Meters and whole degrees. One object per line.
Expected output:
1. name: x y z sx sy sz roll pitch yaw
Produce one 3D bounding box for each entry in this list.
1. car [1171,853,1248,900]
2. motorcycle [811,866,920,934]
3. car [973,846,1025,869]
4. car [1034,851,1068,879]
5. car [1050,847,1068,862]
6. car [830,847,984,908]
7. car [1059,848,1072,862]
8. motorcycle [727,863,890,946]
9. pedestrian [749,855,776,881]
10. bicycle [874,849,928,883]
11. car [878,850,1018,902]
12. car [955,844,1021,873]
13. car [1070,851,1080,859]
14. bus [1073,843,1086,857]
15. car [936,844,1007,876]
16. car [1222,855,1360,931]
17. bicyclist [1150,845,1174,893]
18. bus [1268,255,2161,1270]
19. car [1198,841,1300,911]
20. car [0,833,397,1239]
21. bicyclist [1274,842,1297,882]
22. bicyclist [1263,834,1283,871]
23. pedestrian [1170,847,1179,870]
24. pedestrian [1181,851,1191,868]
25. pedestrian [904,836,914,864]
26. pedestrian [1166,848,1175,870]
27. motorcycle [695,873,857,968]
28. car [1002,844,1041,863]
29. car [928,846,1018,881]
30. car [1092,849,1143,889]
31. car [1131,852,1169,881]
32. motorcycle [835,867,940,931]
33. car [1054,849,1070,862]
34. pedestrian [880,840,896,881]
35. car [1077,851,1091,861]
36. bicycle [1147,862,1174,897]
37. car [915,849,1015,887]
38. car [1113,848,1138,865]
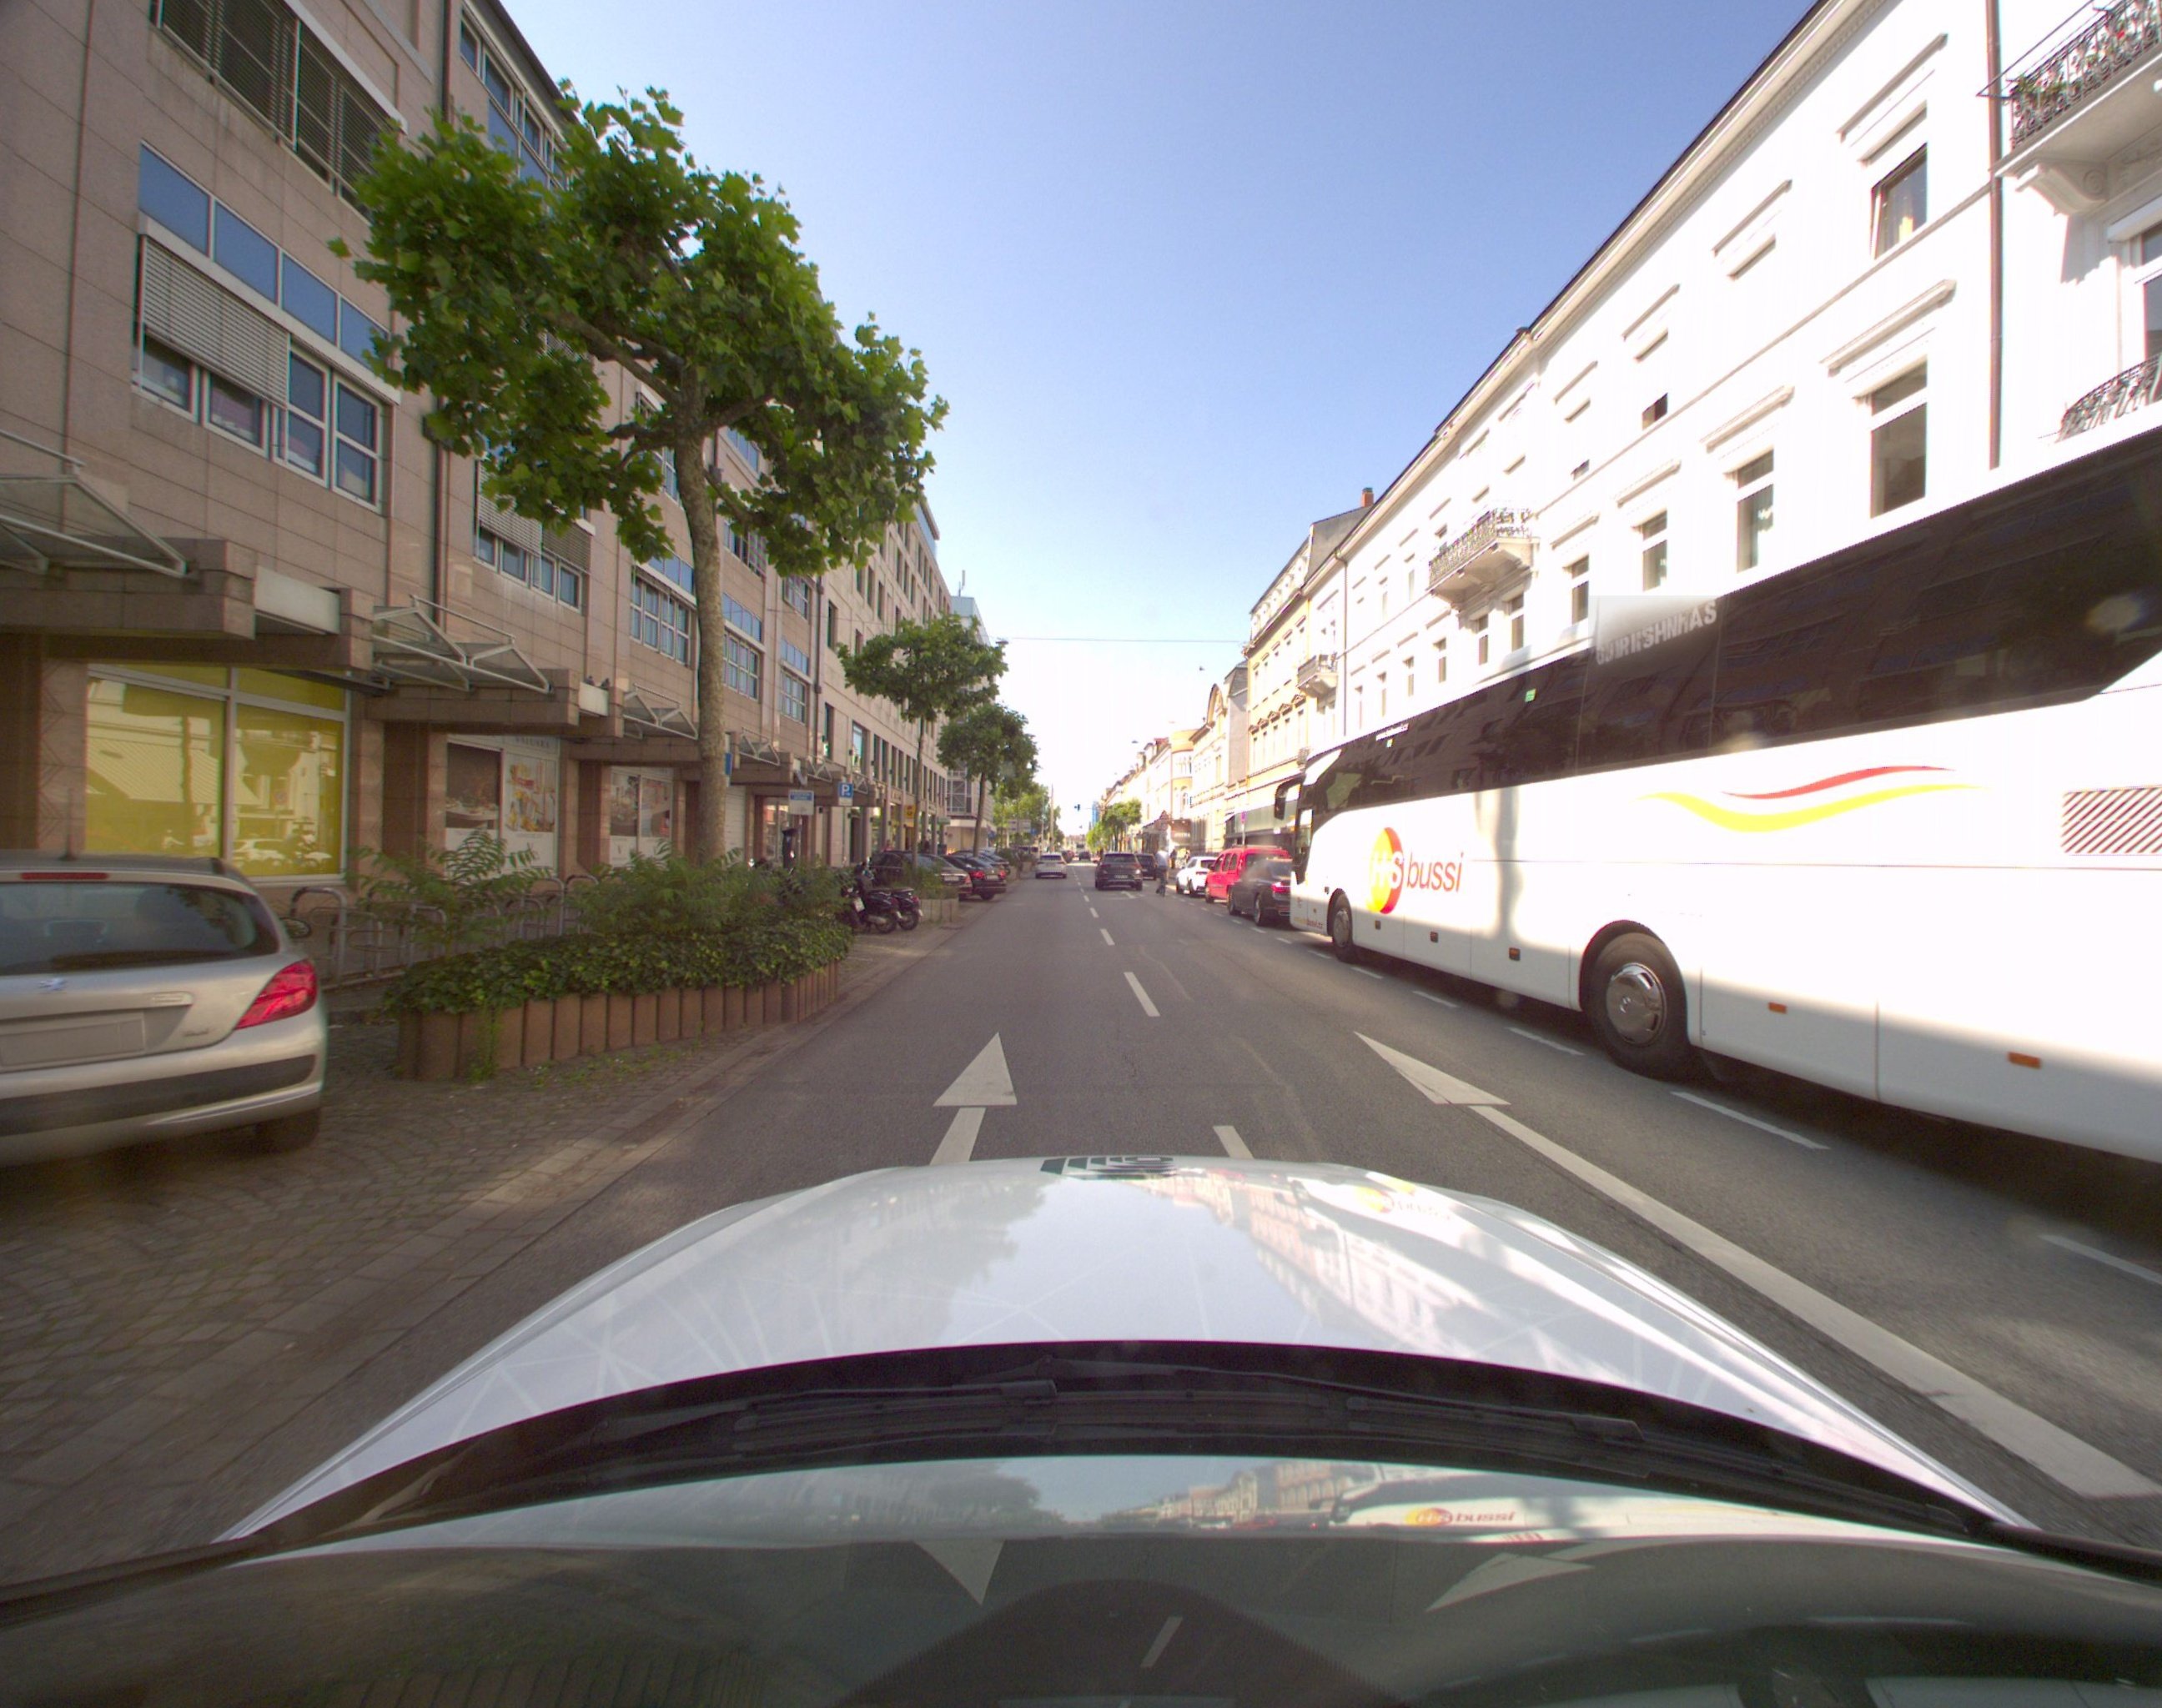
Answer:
1. car: 4.669 0.768 30.257 1.809 1.466 4.574 2 1 -4
2. motorcycle: -4.116 0.853 15.590 1.894 1.170 0.732 2 0 19
3. car: -6.517 0.246 65.107 3.978 1.500 1.715 5 0 -4
4. car: -1.749 0.598 46.858 1.858 1.441 3.996 1 0 -3
5. car: -2.179 -0.001 81.304 1.738 1.441 3.997 0 0 -2
6. car: -5.219 0.636 24.112 4.697 1.533 2.003 2 0 41
7. car: -2.328 0.154 122.625 1.858 2.030 3.996 1 -1 -2
8. motorcycle: -4.704 0.827 14.129 2.326 1.268 1.300 2 0 19
9. pedestrian: -11.043 0.477 28.267 0.564 0.809 0.774 6 0 -1
10. bicycle: -7.371 0.493 33.437 2.064 1.288 0.366 3 -1 -9
11. car: -4.491 0.690 27.090 4.736 1.422 1.895 3 1 39
12. car: -6.287 0.304 54.793 3.953 1.568 1.709 6 0 24
13. car: -1.239 0.156 158.308 1.858 1.441 3.996 0 -2 -2
14. bus: -0.406 -0.992 214.569 2.765 3.605 8.960 0 0 -4
15. car: -6.455 0.346 48.396 3.981 1.500 1.714 5 0 -6
16. car: 4.741 0.797 19.263 1.853 1.470 5.224 2 0 0
17. bicyclist: 2.890 0.523 29.176 0.692 1.673 0.915 3 1 0
18. bus: 5.185 -0.315 8.902 2.874 3.742 12.415 3 0 -2
19. car: 4.985 0.594 24.810 1.824 1.863 4.347 2 0 -5
20. car: -5.531 0.665 4.524 4.006 1.494 1.948 2 1 40
21. bicyclist: 7.596 0.283 30.242 0.623 1.476 0.889 0 0 -1
22. bicyclist: 8.462 -0.058 35.943 0.655 1.595 0.920 0 0 1
23. pedestrian: 7.735 0.363 67.147 0.649 1.809 0.730 1 0 2
24. pedestrian: 10.474 0.534 81.361 0.790 1.720 0.728 0 0 -6
25. pedestrian: -12.666 -0.313 59.989 0.622 2.013 0.700 0 0 0
26. pedestrian: 7.705 0.428 70.249 0.706 1.899 1.153 1 0 2
27. motorcycle: -4.399 0.904 11.727 2.152 1.170 0.926 2 0 26
28. car: -7.410 -0.091 101.951 4.665 2.003 1.953 4 -1 39
29. car: -5.578 0.474 41.943 4.300 1.513 1.844 3 0 29
30. car: 1.449 0.588 33.405 1.828 1.527 3.998 1 0 -1
31. car: 3.917 0.689 46.633 1.817 1.409 3.185 3 1 -2
32. motorcycle: -3.869 0.874 16.303 1.894 1.170 0.764 2 0 19
33. car: -2.139 0.190 92.891 1.738 1.441 3.997 0 0 -2
34. pedestrian: -7.983 0.272 33.679 0.565 1.657 0.635 0 0 -8
35. car: 0.450 0.214 120.137 1.858 1.441 3.997 0 0 -2
36. bicycle: 2.840 0.895 29.158 0.662 1.120 2.242 3 1 -1
37. car: -5.279 0.601 36.701 4.593 1.408 1.918 3 1 42
38. car: 3.731 0.192 68.932 1.816 1.385 4.000 0 1 0
